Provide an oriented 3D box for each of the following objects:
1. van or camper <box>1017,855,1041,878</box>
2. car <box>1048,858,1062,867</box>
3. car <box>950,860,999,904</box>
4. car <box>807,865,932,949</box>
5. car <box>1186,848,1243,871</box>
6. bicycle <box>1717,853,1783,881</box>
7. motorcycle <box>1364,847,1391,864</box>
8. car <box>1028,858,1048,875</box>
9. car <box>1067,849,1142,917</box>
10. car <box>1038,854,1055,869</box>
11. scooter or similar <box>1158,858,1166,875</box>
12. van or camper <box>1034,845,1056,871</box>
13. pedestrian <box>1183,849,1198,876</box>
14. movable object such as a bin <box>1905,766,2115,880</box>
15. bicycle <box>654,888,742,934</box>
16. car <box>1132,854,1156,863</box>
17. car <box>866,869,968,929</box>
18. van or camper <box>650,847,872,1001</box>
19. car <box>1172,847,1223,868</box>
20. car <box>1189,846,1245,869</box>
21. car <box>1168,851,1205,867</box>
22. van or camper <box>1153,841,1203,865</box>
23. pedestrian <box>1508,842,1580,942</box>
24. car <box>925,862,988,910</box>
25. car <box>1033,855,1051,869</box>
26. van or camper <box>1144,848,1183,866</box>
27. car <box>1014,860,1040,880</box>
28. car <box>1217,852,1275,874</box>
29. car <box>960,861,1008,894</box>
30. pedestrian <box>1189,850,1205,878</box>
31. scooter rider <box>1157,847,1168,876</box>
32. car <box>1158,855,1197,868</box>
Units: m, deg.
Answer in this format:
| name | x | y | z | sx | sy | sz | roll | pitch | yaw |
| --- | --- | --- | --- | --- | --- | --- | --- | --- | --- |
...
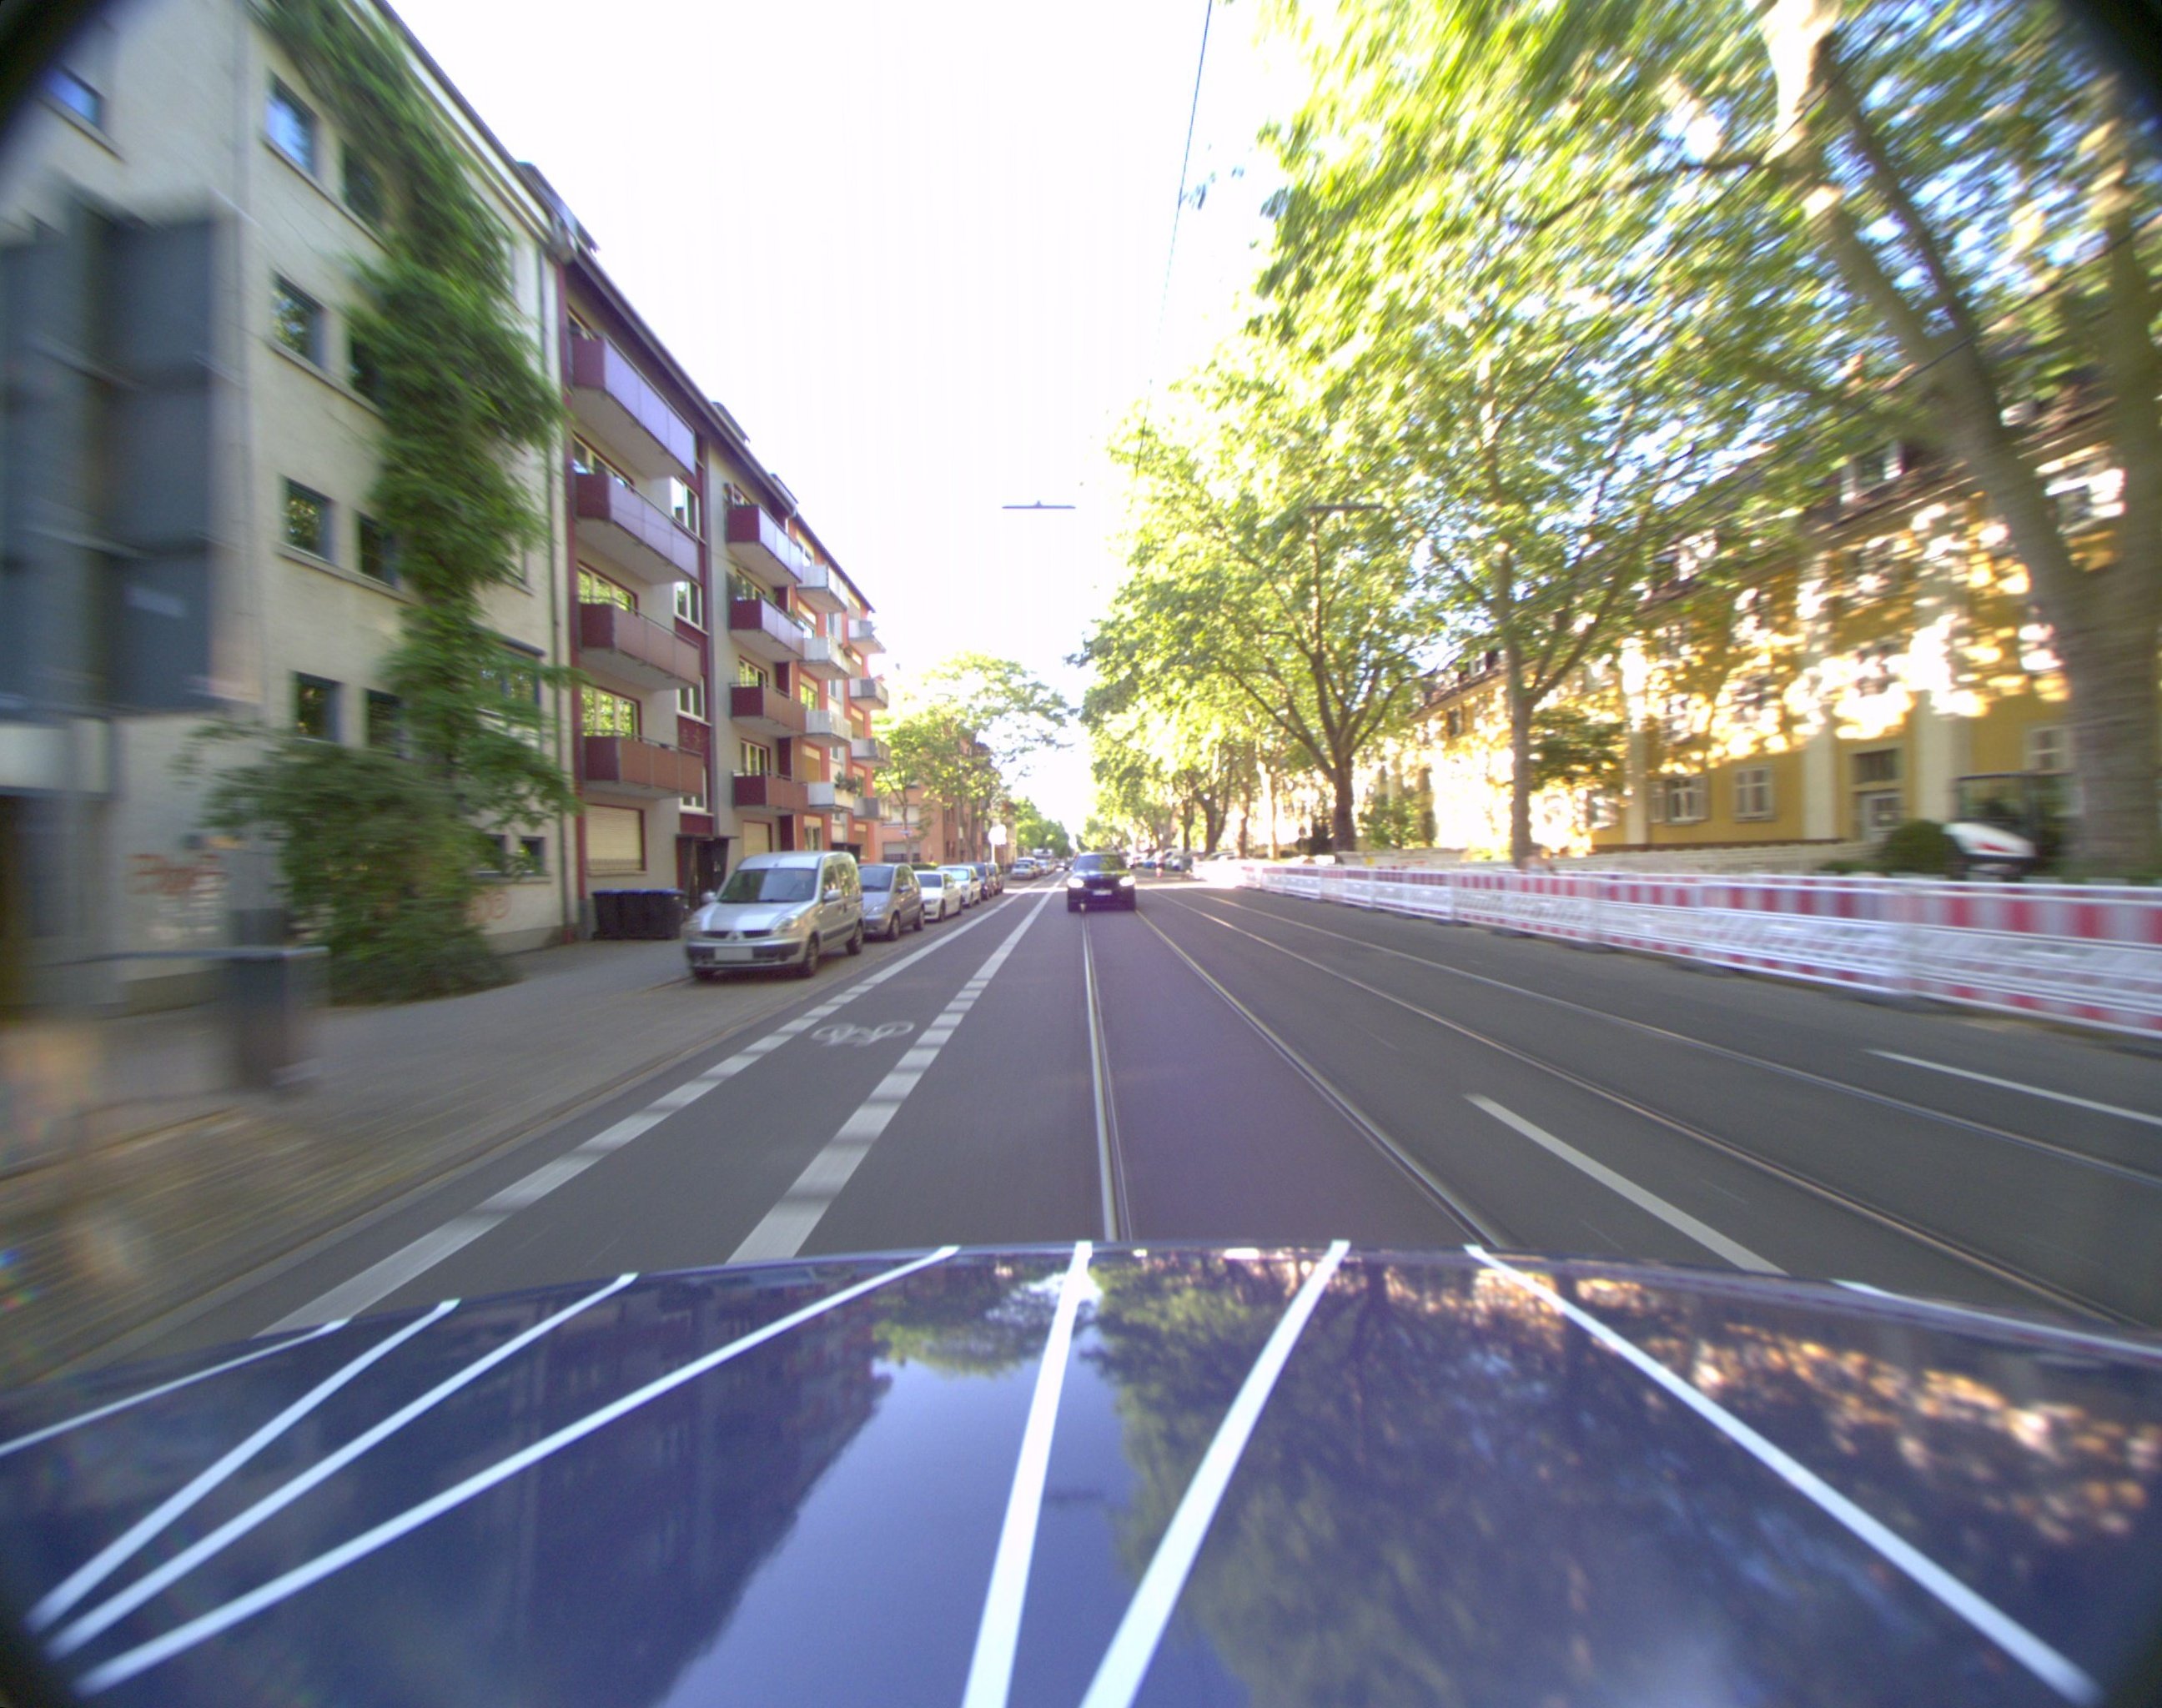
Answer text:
| name | x | y | z | sx | sy | sz | roll | pitch | yaw |
| --- | --- | --- | --- | --- | --- | --- | --- | --- | --- |
| van or camper | -4.513 | 1.049 | 66.210 | 1.759 | 1.853 | 4.830 | -1 | 0 | -1 |
| car | -3.940 | 1.312 | 115.706 | 1.999 | 1.372 | 4.739 | 0 | 0 | 0 |
| car | -4.396 | 1.114 | 31.725 | 1.530 | 1.581 | 3.751 | -3 | 0 | -1 |
| car | -4.454 | 1.061 | 16.512 | 1.664 | 1.571 | 3.589 | 0 | 0 | 1 |
| car | 10.386 | 0.445 | 59.260 | 4.243 | 1.678 | 1.934 | -1 | 0 | 7 |
| bicycle | 20.667 | 0.392 | 23.518 | 0.507 | 0.814 | 1.643 | -2 | 0 | -3 |
| motorcycle | 21.172 | 0.107 | 54.253 | 1.714 | 1.234 | 0.523 | -1 | 0 | 2 |
| car | -4.303 | 1.235 | 76.248 | 1.772 | 1.563 | 4.337 | 0 | 0 | 0 |
| car | 0.625 | 0.775 | 22.694 | 1.924 | 1.741 | 4.806 | -2 | 0 | 0 |
| car | -3.950 | 0.860 | 87.232 | 1.797 | 1.618 | 4.276 | 0 | 0 | 0 |
| scooter or similar | 5.568 | 0.840 | 52.150 | 0.408 | 1.076 | 1.338 | -3 | 1 | 1 |
| van or camper | -4.408 | 0.480 | 93.402 | 2.468 | 3.046 | 6.267 | 0 | 0 | -1 |
| pedestrian | 7.122 | 0.547 | 49.401 | 0.824 | 1.735 | 0.796 | -3 | 1 | 0 |
| movable object such as a bin | 16.733 | -0.527 | 13.796 | 1.337 | 1.858 | 2.007 | -3 | 1 | 0 |
| bicycle | -9.124 | 1.352 | 18.110 | 1.897 | 1.023 | 0.476 | 0 | 1 | 5 |
| car | 11.496 | 0.843 | 139.118 | 4.171 | 1.506 | 1.925 | -2 | -1 | -1 |
| car | -4.404 | 1.152 | 21.135 | 1.663 | 1.391 | 4.740 | 0 | 0 | 2 |
| van or camper | -4.503 | 0.865 | 11.432 | 1.673 | 1.872 | 4.209 | 0 | 0 | -2 |
| car | 11.424 | 0.337 | 74.771 | 4.670 | 1.934 | 1.961 | -2 | 0 | -3 |
| car | 10.995 | 0.278 | 61.629 | 4.210 | 1.747 | 1.739 | -2 | 0 | -2 |
| car | 11.568 | 0.503 | 83.405 | 3.857 | 1.653 | 1.862 | -1 | 0 | 1 |
| van or camper | 11.251 | -0.104 | 88.088 | 5.403 | 2.501 | 2.445 | -2 | 0 | 0 |
| pedestrian | 8.072 | 0.643 | 13.277 | 0.718 | 1.659 | 0.778 | -3 | 1 | 1 |
| car | -4.408 | 1.095 | 27.375 | 1.595 | 1.518 | 3.835 | 0 | 0 | 1 |
| car | -4.216 | 0.848 | 81.924 | 1.793 | 1.513 | 4.321 | 0 | 0 | -1 |
| van or camper | 10.965 | 0.445 | 100.715 | 4.832 | 2.177 | 2.119 | -2 | 0 | -1 |
| car | -4.260 | 1.242 | 60.526 | 1.710 | 1.464 | 4.000 | -1 | 0 | 0 |
| car | 11.948 | 0.676 | 55.192 | 3.857 | 1.489 | 1.862 | -1 | 0 | 1 |
| car | -4.506 | 1.075 | 35.850 | 1.738 | 1.453 | 3.916 | 0 | 0 | 0 |
| pedestrian | 7.409 | 0.647 | 48.521 | 0.824 | 1.735 | 0.796 | -3 | 1 | 0 |
| scooter rider | 5.597 | 0.495 | 52.111 | 0.651 | 1.946 | 0.624 | -3 | 1 | 1 |
| car | 10.847 | 0.825 | 85.582 | 4.275 | 1.390 | 1.753 | -1 | 0 | 1 |
